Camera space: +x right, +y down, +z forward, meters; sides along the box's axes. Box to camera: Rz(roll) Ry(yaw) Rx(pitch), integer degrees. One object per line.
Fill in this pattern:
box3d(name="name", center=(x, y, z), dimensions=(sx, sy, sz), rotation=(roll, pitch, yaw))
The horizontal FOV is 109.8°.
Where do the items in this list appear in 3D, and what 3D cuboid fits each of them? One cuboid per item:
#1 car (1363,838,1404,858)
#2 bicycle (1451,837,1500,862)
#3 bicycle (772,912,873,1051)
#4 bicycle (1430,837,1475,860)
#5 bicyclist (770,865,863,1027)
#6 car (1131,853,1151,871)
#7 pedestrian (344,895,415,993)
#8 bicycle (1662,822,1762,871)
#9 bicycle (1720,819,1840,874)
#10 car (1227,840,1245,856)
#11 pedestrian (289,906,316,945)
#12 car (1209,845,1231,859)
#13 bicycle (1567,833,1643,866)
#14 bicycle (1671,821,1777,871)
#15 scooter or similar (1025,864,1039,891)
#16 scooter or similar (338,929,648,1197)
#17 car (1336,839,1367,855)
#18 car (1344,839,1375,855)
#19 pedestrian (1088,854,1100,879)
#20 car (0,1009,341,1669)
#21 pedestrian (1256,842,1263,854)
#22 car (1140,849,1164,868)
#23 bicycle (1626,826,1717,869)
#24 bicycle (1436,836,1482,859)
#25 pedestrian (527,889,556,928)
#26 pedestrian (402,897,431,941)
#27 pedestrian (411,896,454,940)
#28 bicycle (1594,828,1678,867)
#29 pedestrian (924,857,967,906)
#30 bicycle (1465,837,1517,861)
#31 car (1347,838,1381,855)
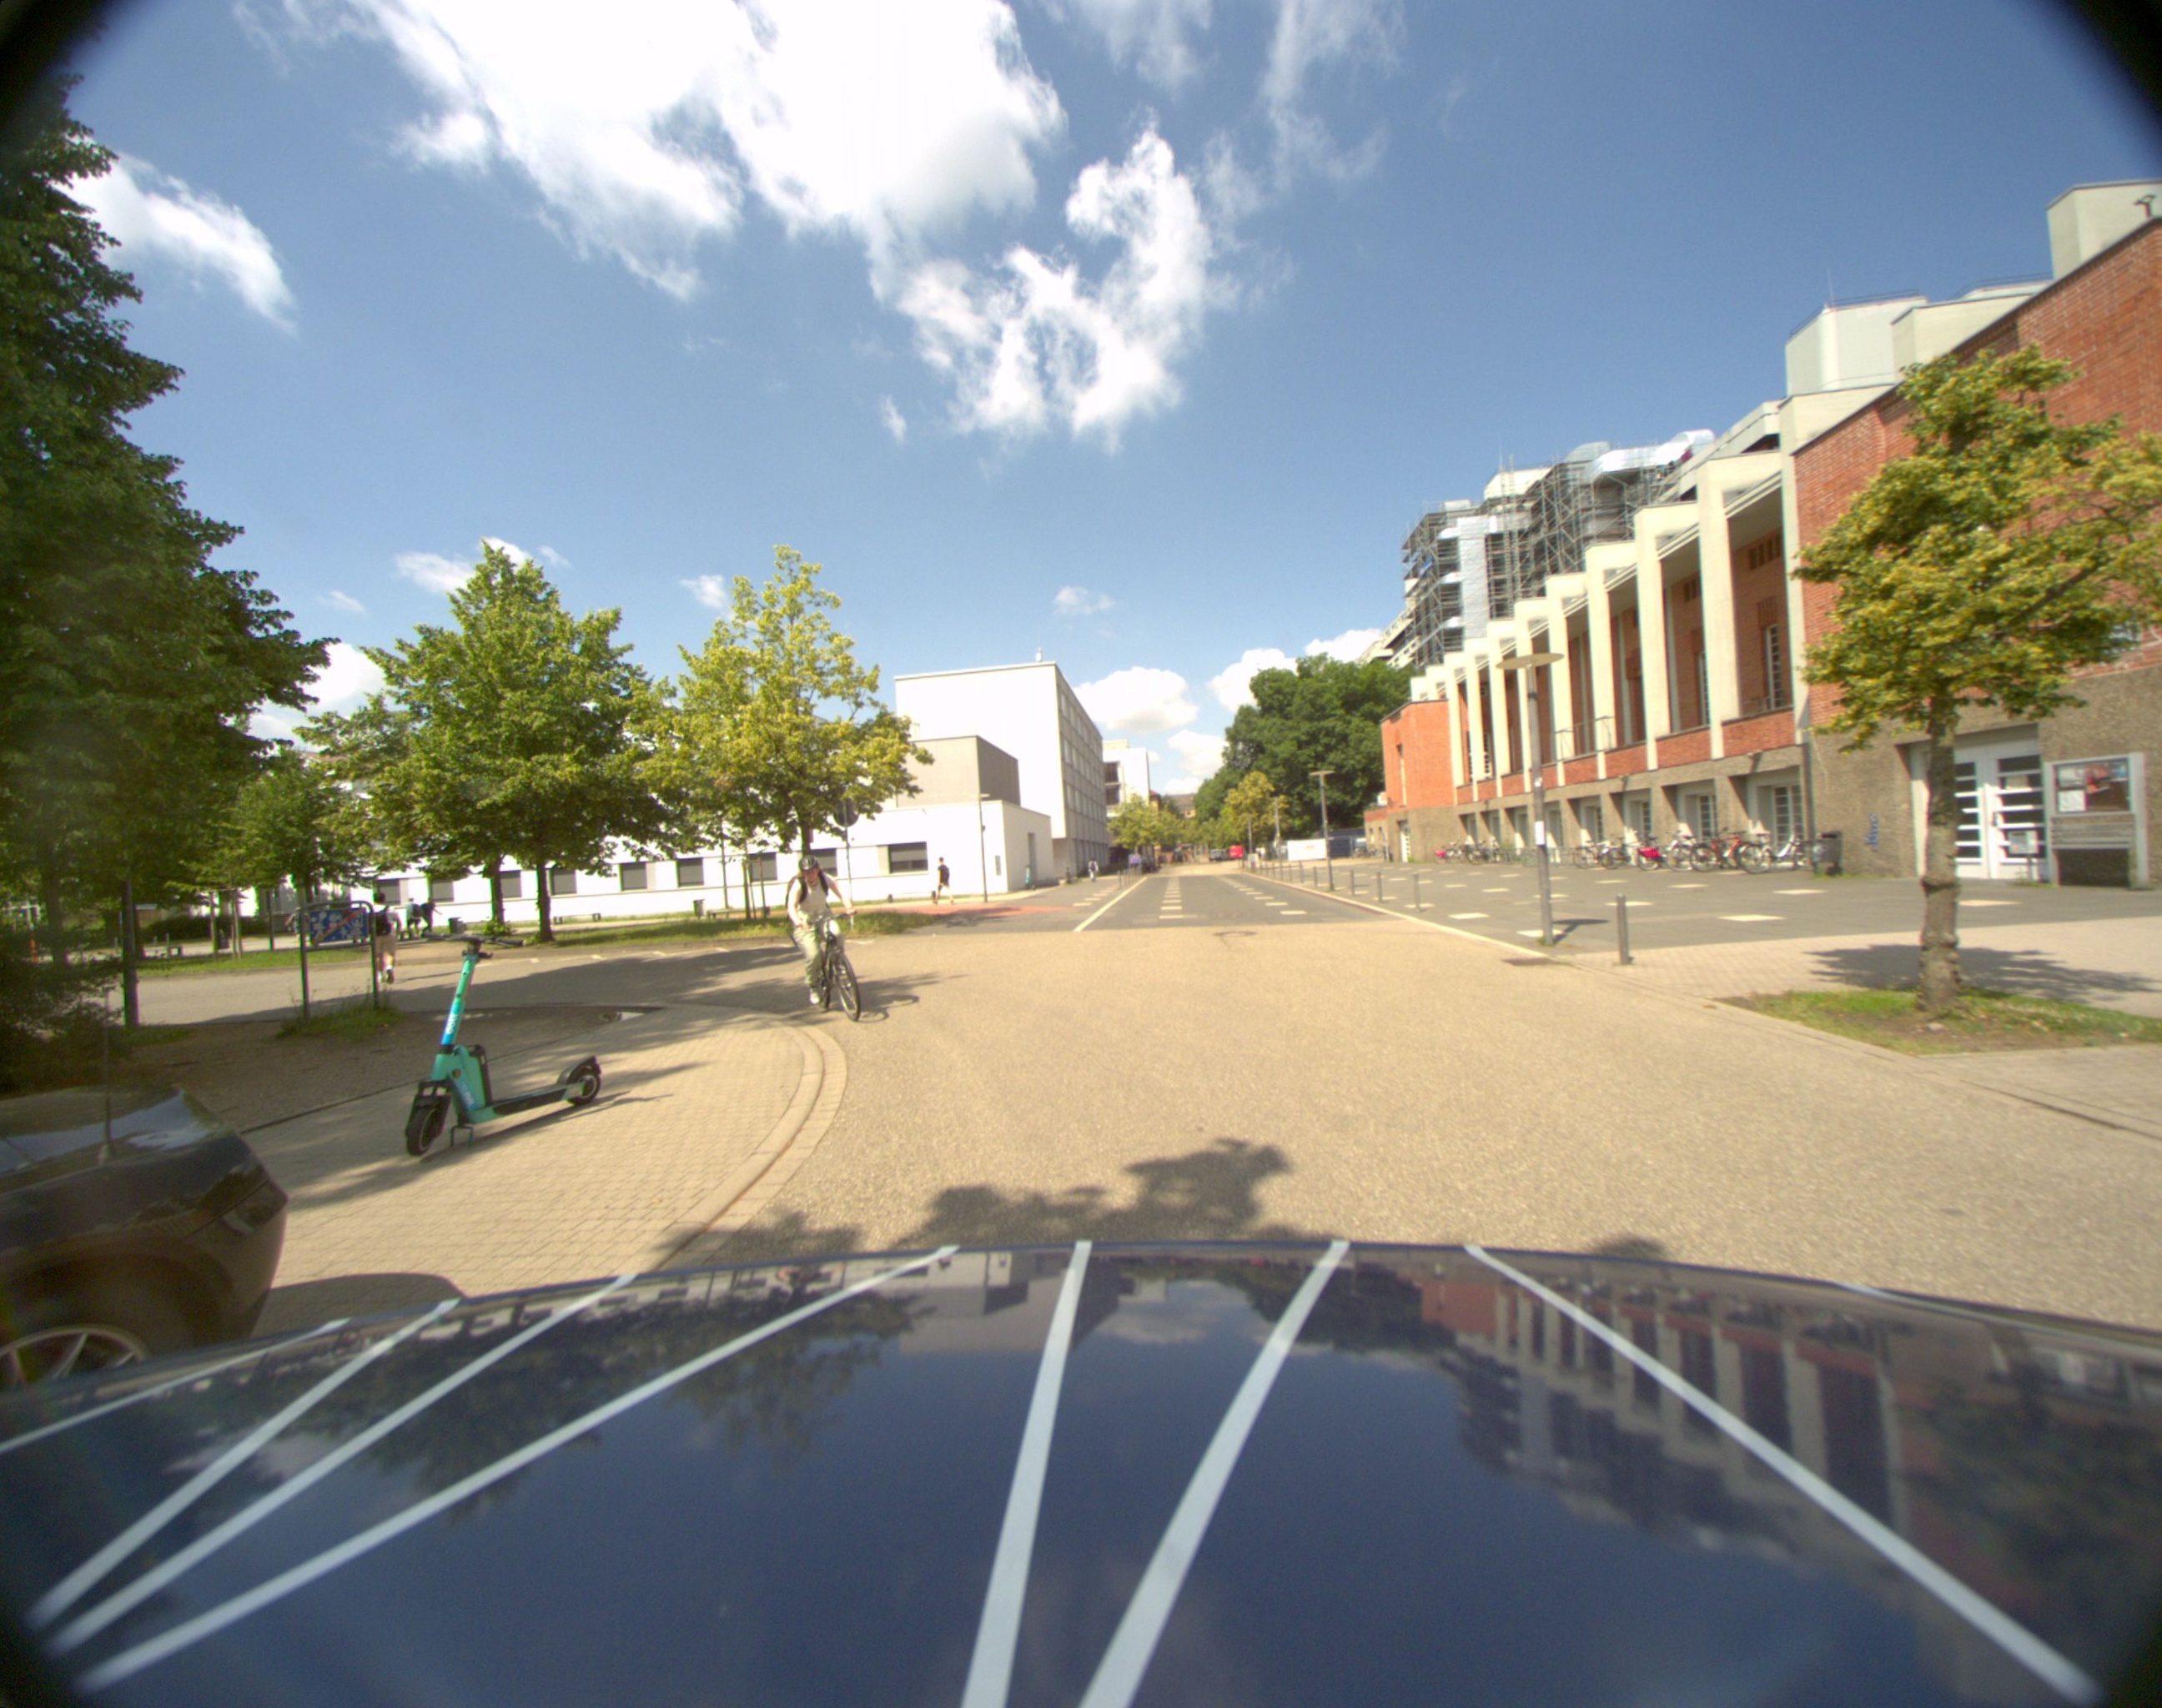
box3d(name="car", center=(20.999, -0.408, 52.731), dimensions=(2.526, 1.173, 0.632), rotation=(-4, 0, 9))
box3d(name="bicycle", center=(18.760, -0.211, 36.124), dimensions=(1.954, 1.024, 0.530), rotation=(-4, 0, 6))
box3d(name="bicycle", center=(-2.767, 1.243, 7.977), dimensions=(0.676, 1.066, 2.132), rotation=(-6, 2, -25))
box3d(name="bicycle", center=(19.233, -0.279, 39.382), dimensions=(1.954, 1.024, 0.542), rotation=(-4, 0, 6))
box3d(name="bicyclist", center=(-2.731, 0.881, 7.798), dimensions=(0.676, 1.470, 1.060), rotation=(-5, 2, -25))
box3d(name="car", center=(5.316, 0.691, 66.987), dimensions=(1.551, 1.377, 3.455), rotation=(-4, 0, 6))
box3d(name="pedestrian", center=(-13.098, 1.665, 14.200), dimensions=(0.582, 1.735, 0.642), rotation=(-4, 1, 9))
box3d(name="bicycle", center=(16.875, -0.193, 20.348), dimensions=(2.025, 1.119, 0.439), rotation=(-6, 0, 11))
box3d(name="bicycle", center=(16.362, -0.171, 17.817), dimensions=(2.026, 1.119, 0.667), rotation=(-4, 0, 6))
box3d(name="car", center=(19.348, -0.745, 94.534), dimensions=(1.911, 1.870, 4.004), rotation=(-4, -1, 14))
box3d(name="pedestrian", center=(-34.691, 3.189, 33.869), dimensions=(0.728, 1.647, 0.714), rotation=(-5, 1, -43))
box3d(name="car", center=(22.114, -0.331, 120.803), dimensions=(2.022, 2.079, 4.440), rotation=(-5, -1, 28))
box3d(name="bicycle", center=(17.552, -0.153, 25.480), dimensions=(1.954, 0.954, 0.685), rotation=(-4, 0, 6))
box3d(name="bicycle", center=(16.609, -0.210, 19.662), dimensions=(2.025, 1.119, 0.593), rotation=(-4, 0, 8))
box3d(name="scooter or similar", center=(-2.328, 1.113, 36.214), dimensions=(0.326, 1.228, 1.074), rotation=(-4, 0, 10))
box3d(name="scooter or similar", center=(-3.535, 1.183, 4.728), dimensions=(0.553, 1.247, 1.383), rotation=(-4, 1, 15))
box3d(name="car", center=(23.042, -0.561, 64.739), dimensions=(2.323, 1.173, 0.479), rotation=(-4, 0, 9))
box3d(name="car", center=(22.847, -0.562, 62.288), dimensions=(2.287, 1.173, 0.524), rotation=(-4, 0, 9))
box3d(name="pedestrian", center=(0.780, 0.756, 46.304), dimensions=(0.524, 1.430, 0.701), rotation=(-4, 0, 10))
box3d(name="car", center=(-3.386, 1.178, 0.400), dimensions=(1.711, 1.273, 4.002), rotation=(-4, 0, 8))
box3d(name="pedestrian", center=(22.621, -0.764, 96.298), dimensions=(0.642, 1.529, 0.453), rotation=(-4, 1, 18))
box3d(name="car", center=(7.027, 0.422, 75.136), dimensions=(1.938, 1.671, 3.472), rotation=(-4, 0, 12))
box3d(name="bicycle", center=(17.055, -0.197, 21.987), dimensions=(2.014, 1.076, 0.622), rotation=(-4, 0, 6))
box3d(name="bicycle", center=(19.113, -0.308, 38.470), dimensions=(1.954, 1.024, 0.519), rotation=(-4, 0, 6))
box3d(name="pedestrian", center=(-24.351, 2.452, 34.318), dimensions=(0.724, 1.678, 0.629), rotation=(-4, 1, 6))
box3d(name="pedestrian", center=(-27.853, 2.699, 31.848), dimensions=(0.712, 1.759, 0.828), rotation=(-5, 1, -33))
box3d(name="pedestrian", center=(-28.186, 2.763, 33.026), dimensions=(1.093, 1.765, 0.795), rotation=(-4, 1, 12))
box3d(name="bicycle", center=(17.355, -0.190, 23.790), dimensions=(2.026, 1.055, 0.663), rotation=(-4, 0, 6))
box3d(name="pedestrian", center=(-5.122, 1.017, 28.742), dimensions=(1.168, 1.789, 1.023), rotation=(-2, 0, 36))
box3d(name="bicycle", center=(18.680, -0.219, 34.646), dimensions=(1.954, 0.935, 0.569), rotation=(-4, 0, 6))
box3d(name="car", center=(22.523, -0.557, 60.529), dimensions=(2.367, 1.173, 0.795), rotation=(-4, 0, 9))
